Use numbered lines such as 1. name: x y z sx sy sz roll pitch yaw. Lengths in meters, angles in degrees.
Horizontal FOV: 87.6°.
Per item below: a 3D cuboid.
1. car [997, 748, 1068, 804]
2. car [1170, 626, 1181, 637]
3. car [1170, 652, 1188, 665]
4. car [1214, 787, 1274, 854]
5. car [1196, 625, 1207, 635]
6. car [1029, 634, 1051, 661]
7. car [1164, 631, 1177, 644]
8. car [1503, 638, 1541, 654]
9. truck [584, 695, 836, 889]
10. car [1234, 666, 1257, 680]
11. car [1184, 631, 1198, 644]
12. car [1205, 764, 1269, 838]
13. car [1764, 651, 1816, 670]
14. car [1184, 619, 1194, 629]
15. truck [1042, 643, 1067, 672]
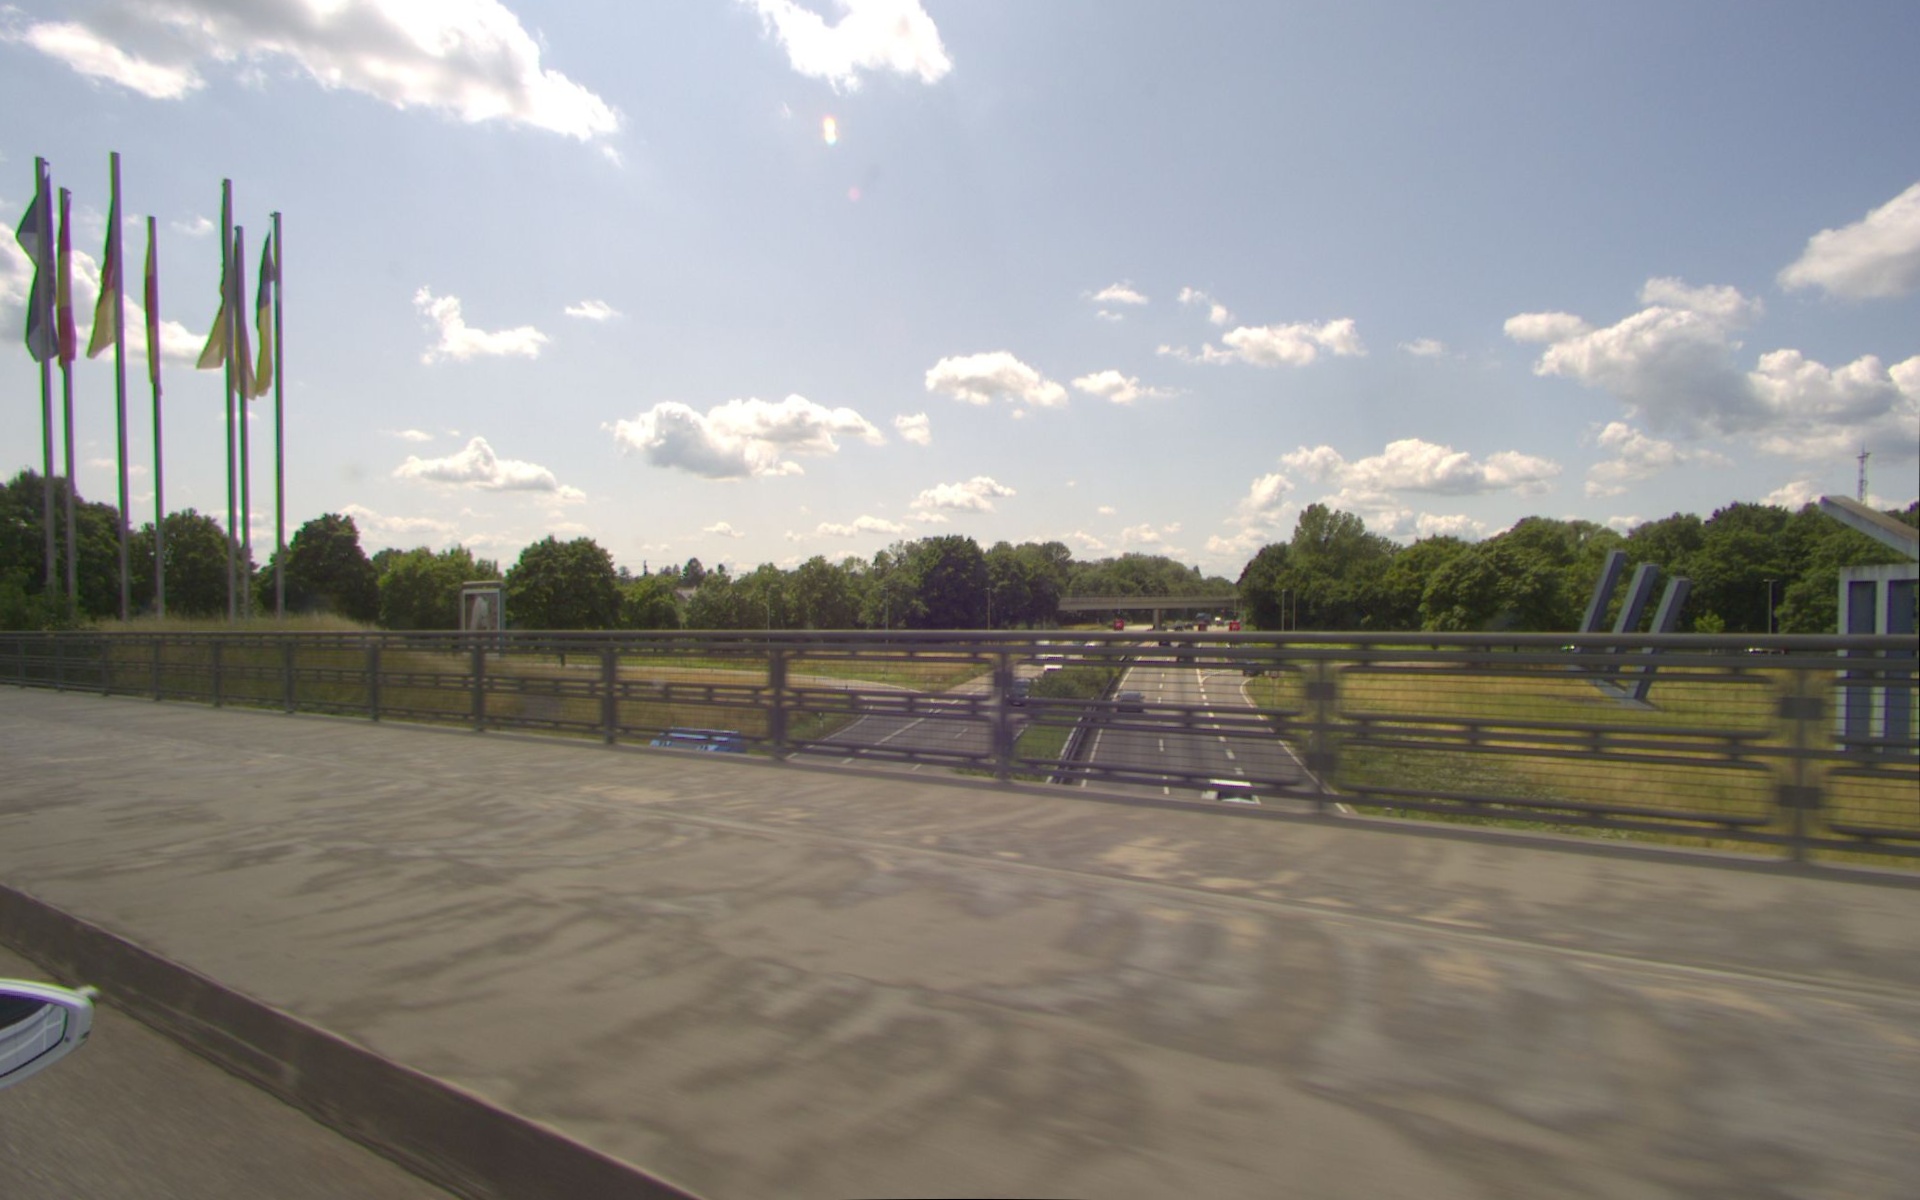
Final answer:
1. car: 2.642 6.199 35.594 1.962 1.304 3.999 1 -1 12
2. car: 42.476 6.178 197.483 1.962 2.039 4.000 1 -1 10
3. car: 25.310 6.742 115.649 1.962 1.304 3.999 1 -1 12
4. car: 9.234 7.168 32.775 1.631 1.490 3.146 1 -1 12
5. car: 51.068 6.340 211.537 1.962 2.039 4.000 1 -1 10
6. car: 9.267 5.487 115.889 1.962 2.937 3.999 1 -1 12
7. car: 36.181 6.416 172.366 1.962 2.039 4.000 1 -1 10
8. car: 73.310 5.971 130.707 3.958 1.906 1.982 0 -1 44
9. truck: -7.513 5.691 32.208 3.941 4.460 9.628 1 -1 12
10. car: 30.003 7.669 105.245 1.962 1.304 3.999 1 -1 12
11. car: 38.254 6.196 165.556 1.962 2.039 4.000 1 -1 10
12. car: 9.968 7.203 36.279 1.962 1.861 3.999 1 -1 12
13. car: 91.721 6.684 110.675 1.967 1.906 3.989 2 -1 -21
14. car: 51.606 5.382 225.437 1.962 2.039 4.000 1 -1 10
15. truck: 9.645 5.800 101.521 1.962 2.737 6.617 1 -1 10
